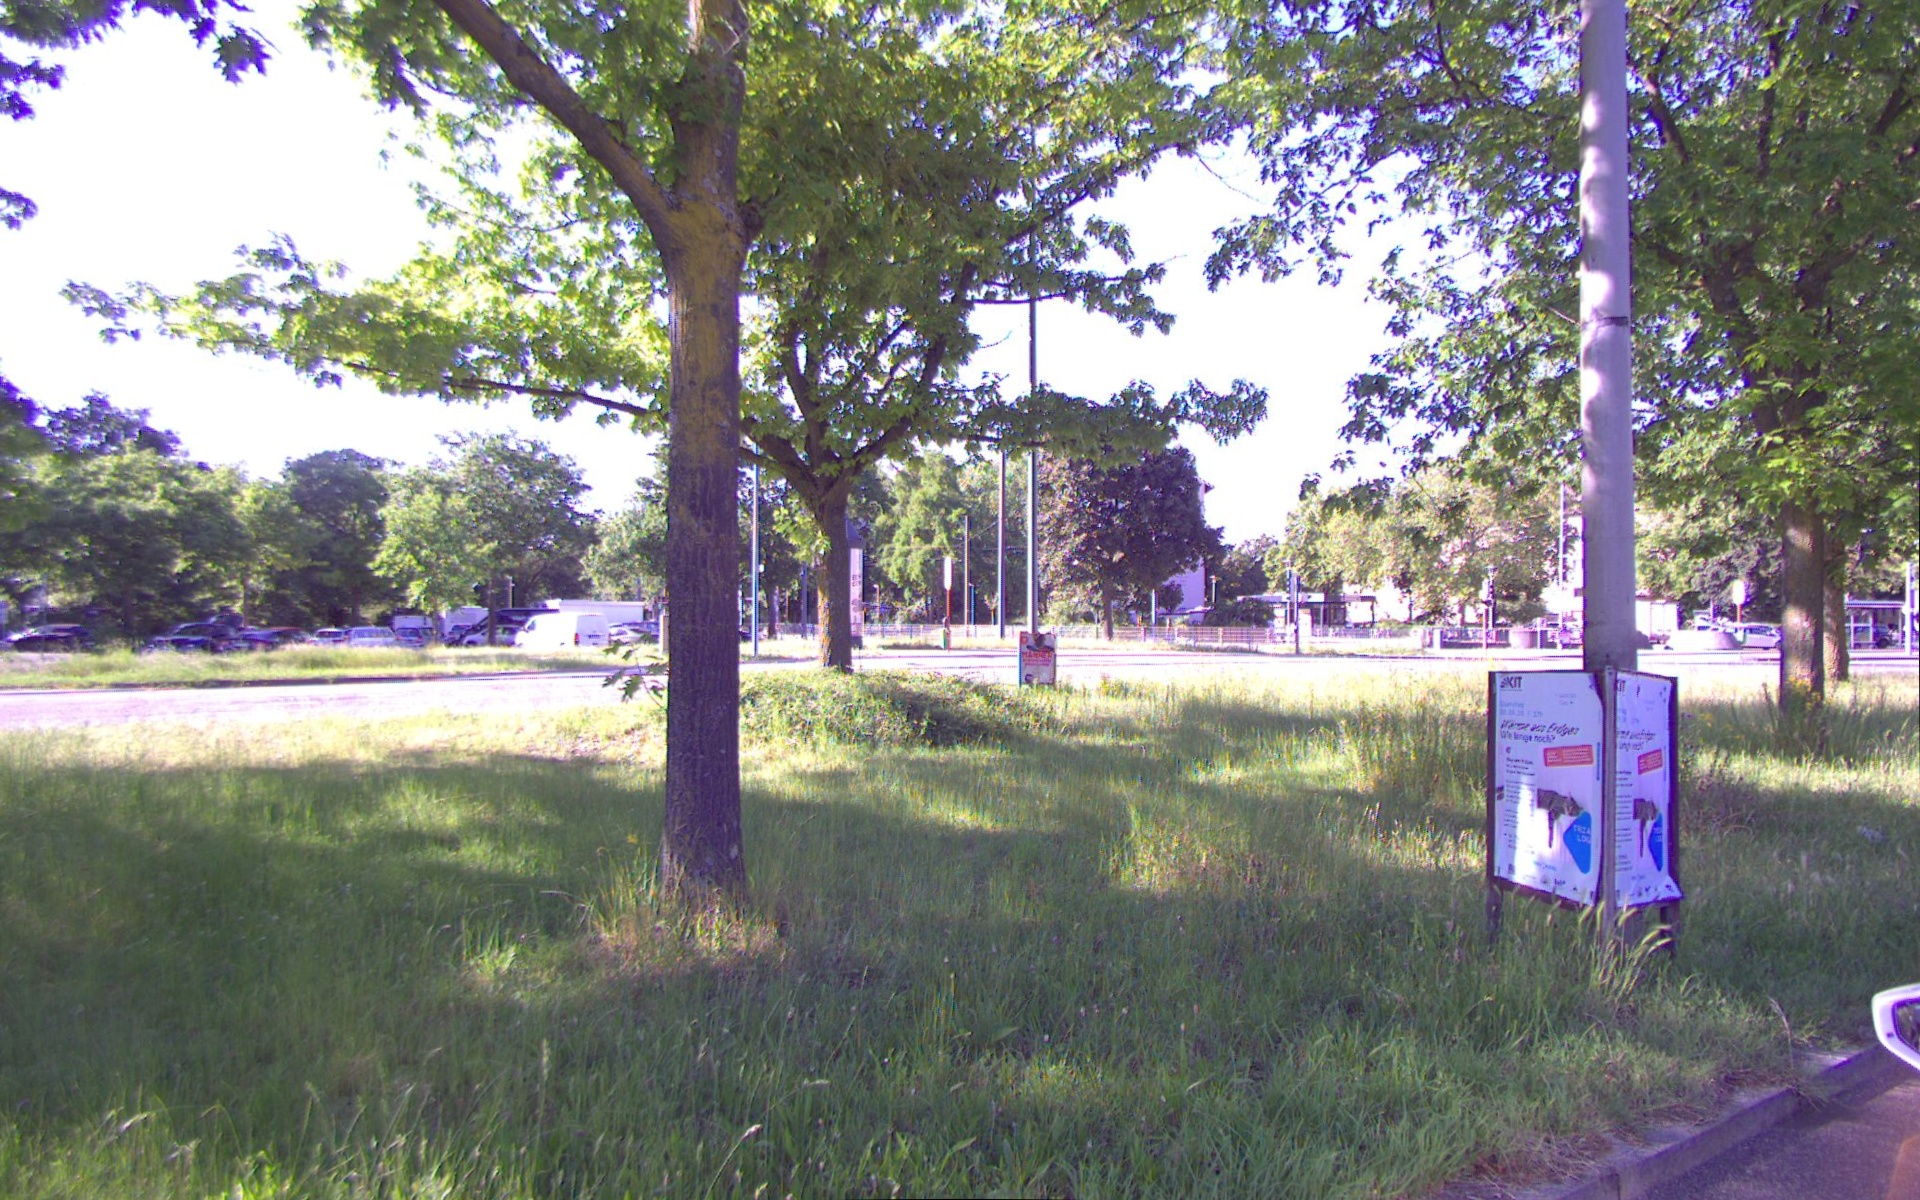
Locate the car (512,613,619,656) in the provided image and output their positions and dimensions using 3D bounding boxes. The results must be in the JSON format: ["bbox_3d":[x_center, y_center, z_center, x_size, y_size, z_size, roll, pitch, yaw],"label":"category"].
[{"bbox_3d":[-17.221,1.464,43.793,4.670,1.762,2.024,0,-1,34],"label":"car"}]

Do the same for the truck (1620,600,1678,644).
[{"bbox_3d":[46.637,1.473,68.085,1.960,2.842,4.002,0,-1,15],"label":"truck"}]

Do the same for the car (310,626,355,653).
[{"bbox_3d":[-29.297,1.812,46.857,1.603,1.194,3.047,1,-1,-35],"label":"car"}]

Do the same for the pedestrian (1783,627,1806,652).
[{"bbox_3d":[53.659,2.532,64.574,0.781,1.629,0.923,0,-1,9],"label":"pedestrian"}]

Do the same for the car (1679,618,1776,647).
[{"bbox_3d":[46.903,1.960,61.461,4.233,1.706,2.001,0,-1,9],"label":"car"}]

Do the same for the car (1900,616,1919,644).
[{"bbox_3d":[71.672,2.214,73.293,1.910,2.040,4.155,1,-1,-31],"label":"car"}]

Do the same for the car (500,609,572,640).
[{"bbox_3d":[-24.134,1.399,57.281,3.698,1.691,1.883,1,-1,-23],"label":"car"}]

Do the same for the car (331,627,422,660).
[{"bbox_3d":[-21.829,1.623,37.626,2.769,1.171,1.326,1,-1,-40],"label":"car"}]

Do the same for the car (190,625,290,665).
[{"bbox_3d":[-25.236,1.552,35.236,2.769,1.323,1.326,1,-1,-40],"label":"car"}]

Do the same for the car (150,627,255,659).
[{"bbox_3d":[-26.845,1.492,35.620,1.315,1.078,2.777,0,-1,42],"label":"car"}]

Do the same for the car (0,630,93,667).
[{"bbox_3d":[-47.663,2.480,51.895,1.966,1.817,3.990,0,-1,32],"label":"car"}]

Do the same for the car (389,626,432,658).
[{"bbox_3d":[-26.705,2.016,48.770,1.602,1.438,3.050,1,-1,-33],"label":"car"}]

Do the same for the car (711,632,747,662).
[{"bbox_3d":[-12.034,2.443,52.480,1.589,1.438,3.073,0,-1,-8],"label":"car"}]

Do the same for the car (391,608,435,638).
[{"bbox_3d":[-32.492,1.350,59.777,1.865,1.691,3.733,1,-1,-22],"label":"car"}]

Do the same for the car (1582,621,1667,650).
[{"bbox_3d":[41.346,2.187,62.606,3.919,1.706,2.001,0,-1,9],"label":"car"}]
